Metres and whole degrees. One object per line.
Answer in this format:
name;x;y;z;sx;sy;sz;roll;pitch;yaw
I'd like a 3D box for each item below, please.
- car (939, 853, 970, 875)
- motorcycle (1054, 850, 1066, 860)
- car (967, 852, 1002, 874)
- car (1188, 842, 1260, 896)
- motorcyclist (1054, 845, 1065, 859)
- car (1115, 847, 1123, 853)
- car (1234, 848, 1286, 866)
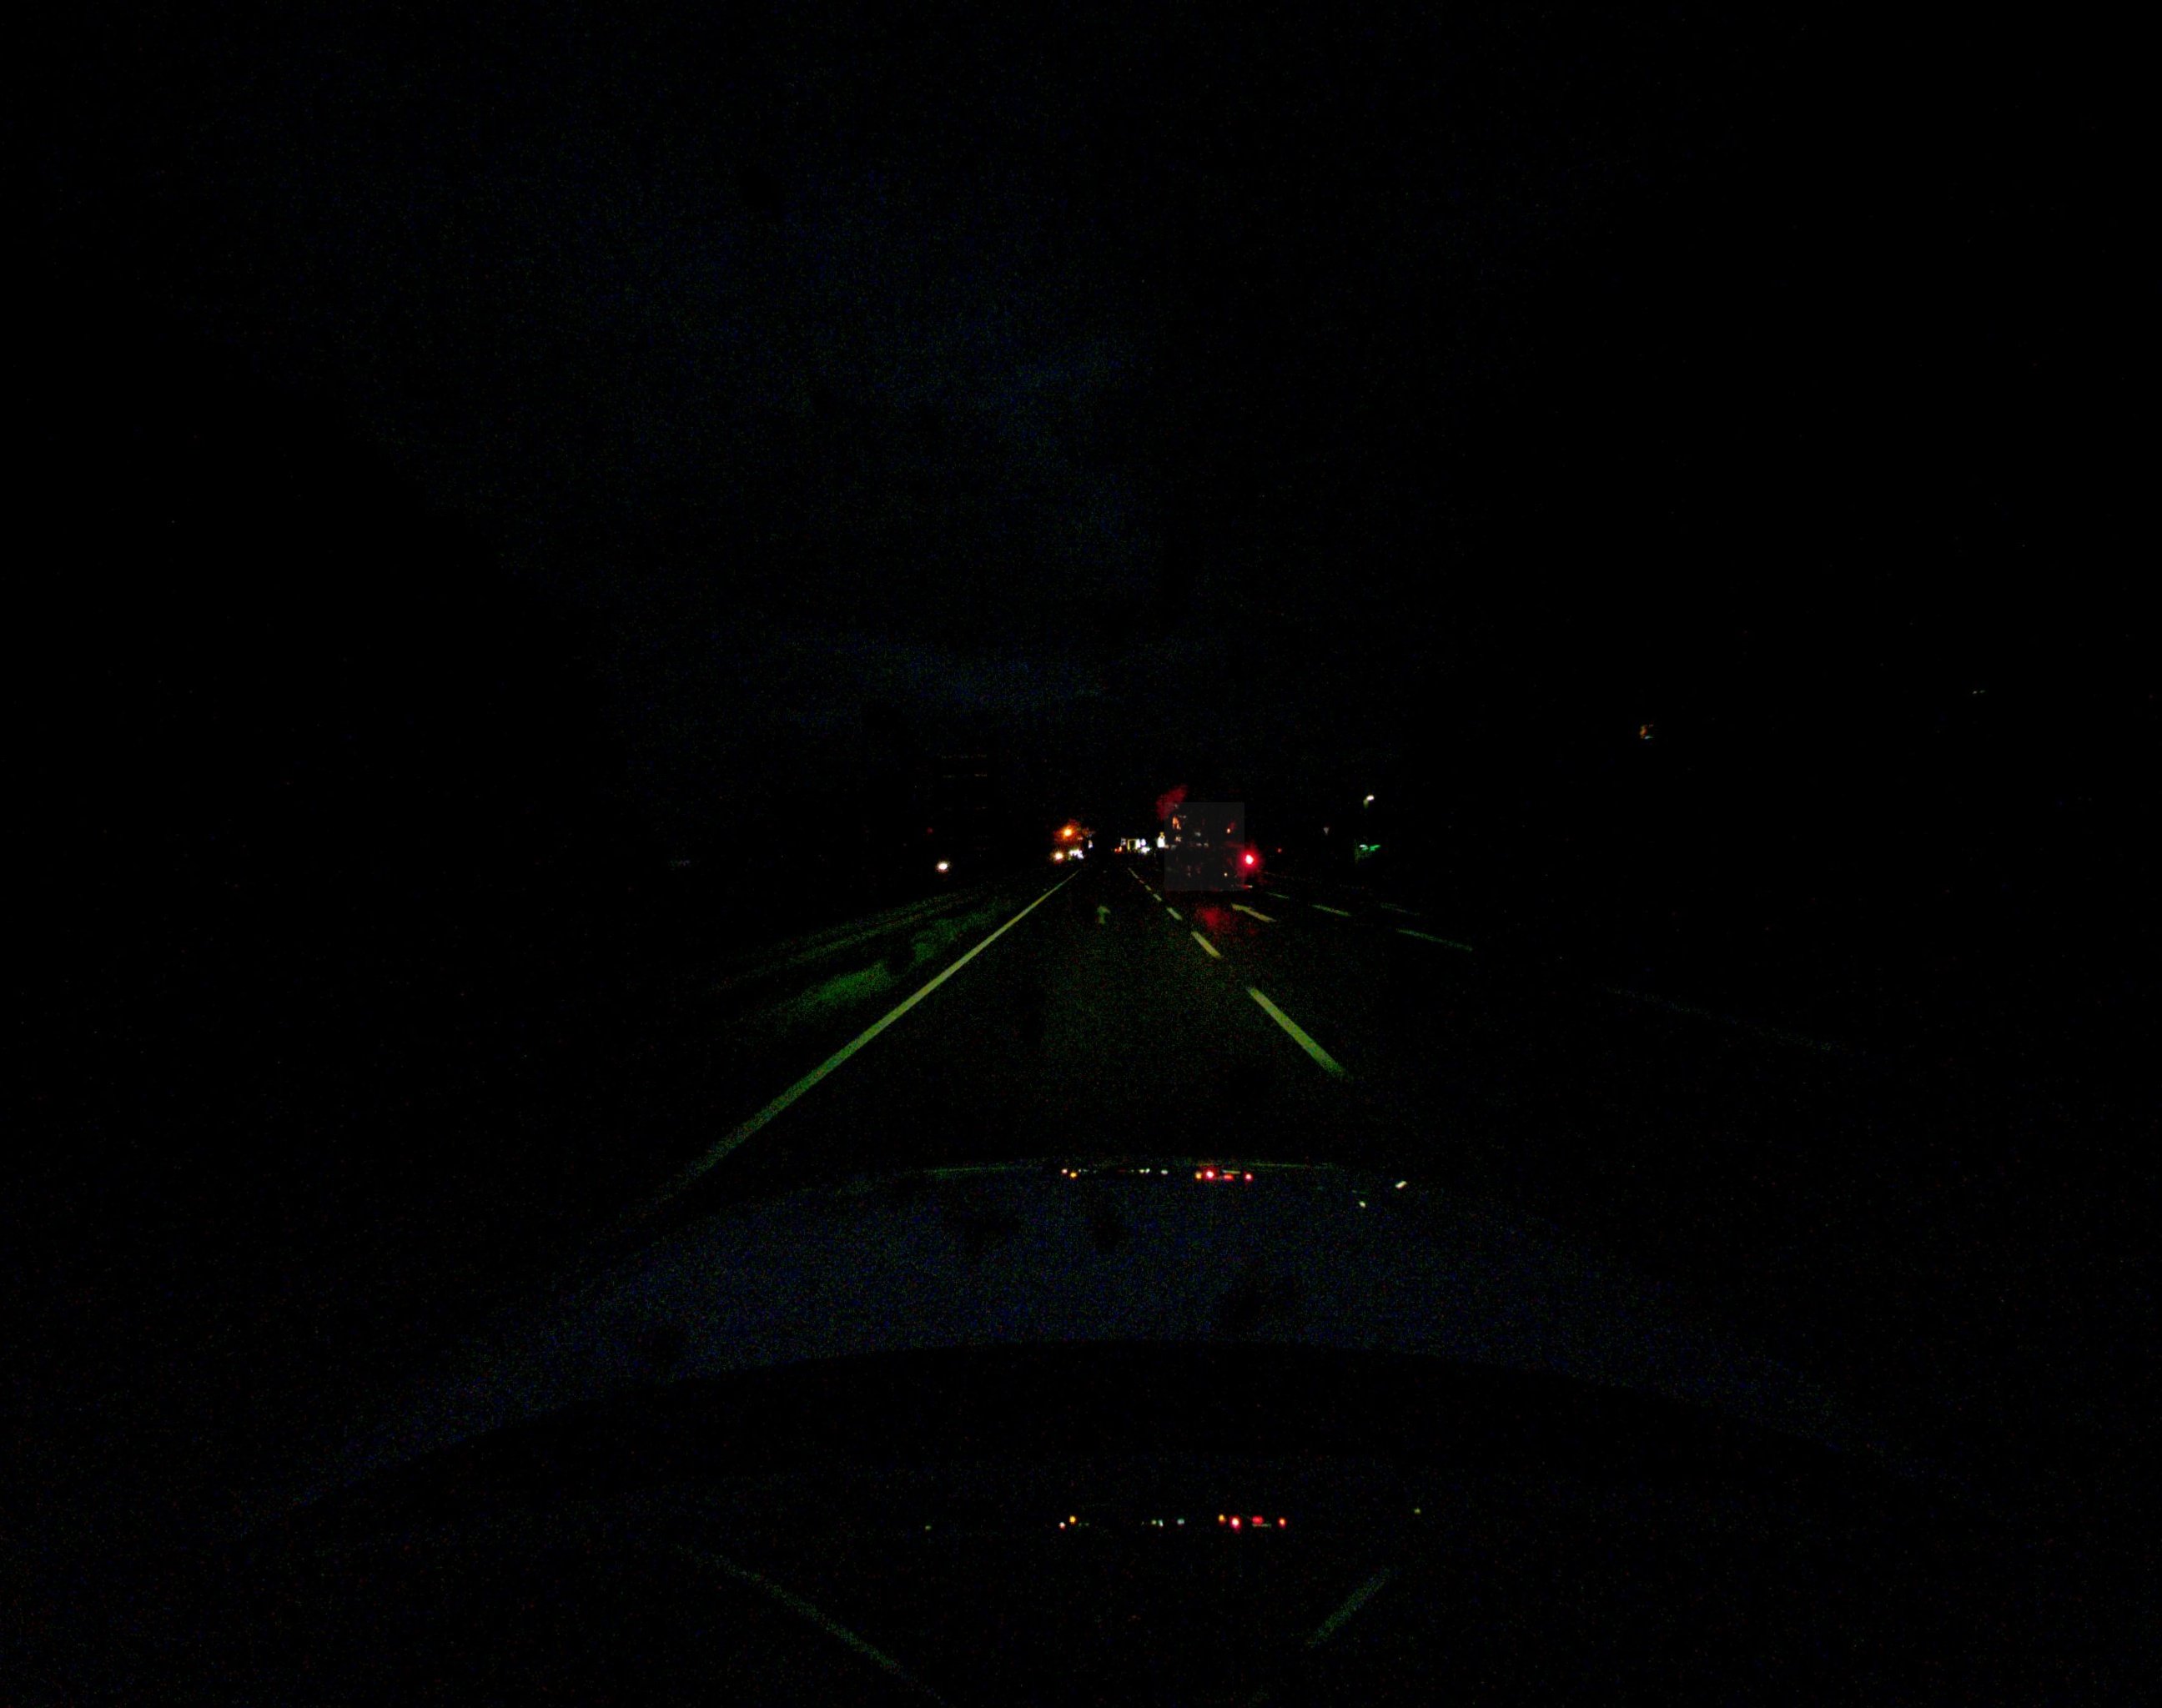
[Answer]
car;-10.471;0.795;67.587;1.789;1.671;4.501;-2;0;0
motorcycle;-2.485;0.132;96.227;0.973;1.098;2.515;-3;0;10
car;-6.862;0.616;58.516;1.915;1.431;4.501;-3;0;0
car;4.338;0.417;25.230;1.663;1.520;4.109;-1;0;3
motorcyclist;-2.524;-0.197;96.167;1.130;1.584;0.975;-3;0;10
car;10.980;-1.289;234.577;2.266;1.632;4.001;-2;0;1
car;17.417;0.249;79.505;4.583;1.520;2.001;-3;0;2
